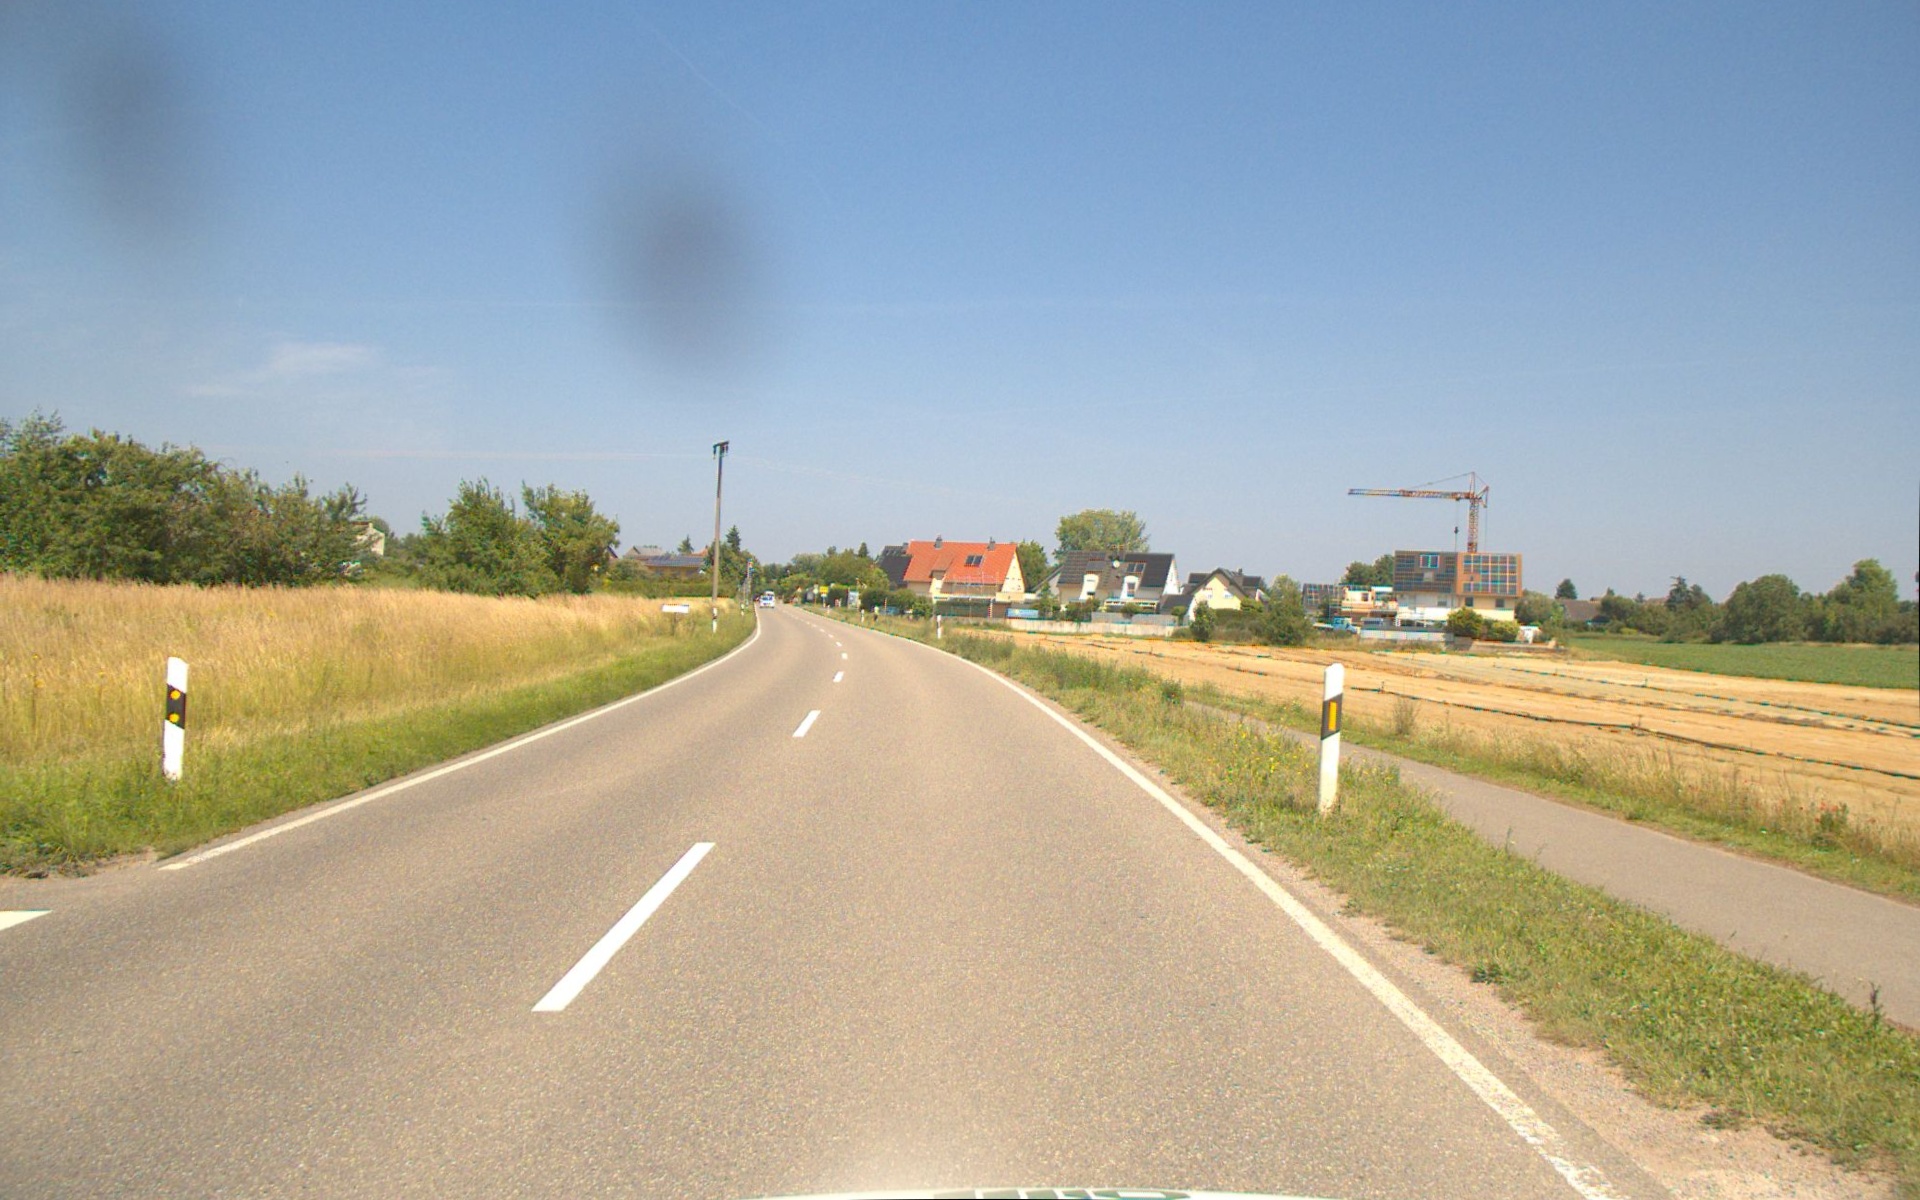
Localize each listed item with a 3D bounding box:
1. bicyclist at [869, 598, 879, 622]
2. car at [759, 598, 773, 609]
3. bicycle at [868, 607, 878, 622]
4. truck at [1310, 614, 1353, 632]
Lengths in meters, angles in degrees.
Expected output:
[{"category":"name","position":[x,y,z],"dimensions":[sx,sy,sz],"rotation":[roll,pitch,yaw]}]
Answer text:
[{"category":"bicyclist","position":[-7.328,0.855,140.452],"dimensions":[0.633,1.922,0.859],"rotation":[4,0,-8]},{"category":"car","position":[-24.636,0.450,210.123],"dimensions":[1.758,1.434,4.178],"rotation":[1,0,-7]},{"category":"bicycle","position":[-7.369,1.222,140.578],"dimensions":[0.599,1.179,2.270],"rotation":[4,1,-8]},{"category":"truck","position":[49.826,3.039,222.087],"dimensions":[5.437,2.269,2.216],"rotation":[1,0,17]}]
